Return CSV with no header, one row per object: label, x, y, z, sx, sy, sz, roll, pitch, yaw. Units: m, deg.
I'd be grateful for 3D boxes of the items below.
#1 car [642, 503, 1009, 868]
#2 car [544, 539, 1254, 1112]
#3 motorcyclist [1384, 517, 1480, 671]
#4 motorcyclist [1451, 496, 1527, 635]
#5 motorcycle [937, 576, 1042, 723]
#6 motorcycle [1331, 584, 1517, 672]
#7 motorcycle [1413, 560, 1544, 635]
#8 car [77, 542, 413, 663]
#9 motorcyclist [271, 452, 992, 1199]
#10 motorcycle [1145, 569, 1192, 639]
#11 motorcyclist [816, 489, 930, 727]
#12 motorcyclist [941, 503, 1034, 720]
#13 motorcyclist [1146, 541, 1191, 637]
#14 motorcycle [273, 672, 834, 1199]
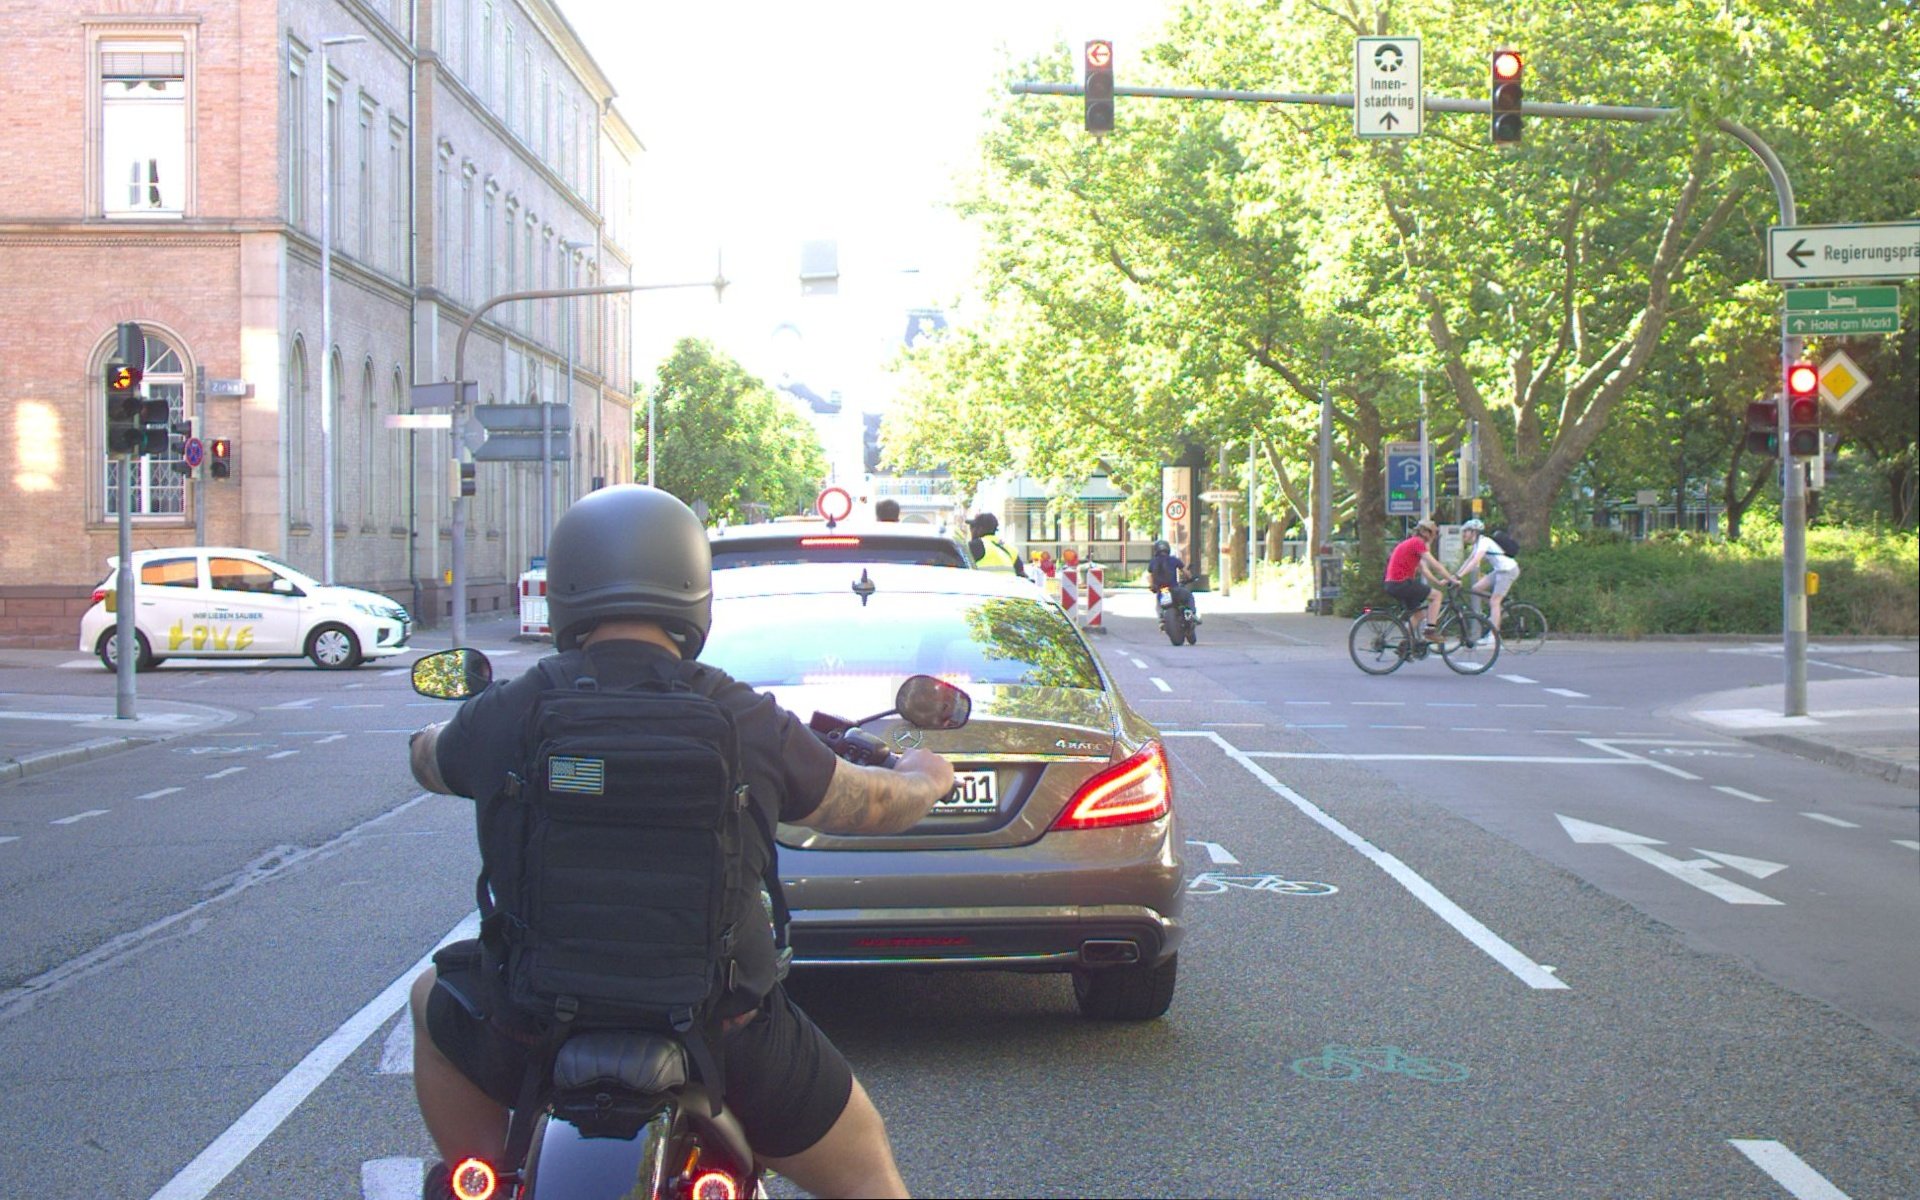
car,-0.634,0.370,17.686,1.651,1.646,4.000,1,1,-1
car,-0.408,0.570,11.148,1.824,1.481,4.334,1,1,-7
motorcyclist,5.342,-0.067,38.943,0.985,1.716,0.551,1,0,0
motorcyclist,7.164,-0.469,46.581,0.983,1.870,0.376,0,0,4
motorcycle,0.223,0.376,27.964,0.797,1.128,2.236,1,1,-1
motorcycle,5.248,0.309,38.942,2.012,0.958,0.580,1,0,0
motorcycle,7.024,-0.035,46.608,1.719,0.998,0.416,0,1,4
car,-8.506,0.021,41.057,3.744,1.413,1.440,0,1,-3
motorcyclist,-0.467,0.597,5.348,0.990,1.605,1.120,1,0,-1
motorcycle,3.358,0.050,55.345,0.626,1.093,2.087,1,1,7
motorcyclist,-0.662,0.055,26.369,0.831,1.782,0.913,1,0,-1
motorcyclist,0.221,0.087,28.009,0.717,1.737,0.751,1,0,-1
motorcyclist,3.369,-0.176,55.456,0.643,1.532,0.942,1,0,7
motorcycle,-0.564,0.768,5.443,0.660,1.236,2.058,1,1,-1
